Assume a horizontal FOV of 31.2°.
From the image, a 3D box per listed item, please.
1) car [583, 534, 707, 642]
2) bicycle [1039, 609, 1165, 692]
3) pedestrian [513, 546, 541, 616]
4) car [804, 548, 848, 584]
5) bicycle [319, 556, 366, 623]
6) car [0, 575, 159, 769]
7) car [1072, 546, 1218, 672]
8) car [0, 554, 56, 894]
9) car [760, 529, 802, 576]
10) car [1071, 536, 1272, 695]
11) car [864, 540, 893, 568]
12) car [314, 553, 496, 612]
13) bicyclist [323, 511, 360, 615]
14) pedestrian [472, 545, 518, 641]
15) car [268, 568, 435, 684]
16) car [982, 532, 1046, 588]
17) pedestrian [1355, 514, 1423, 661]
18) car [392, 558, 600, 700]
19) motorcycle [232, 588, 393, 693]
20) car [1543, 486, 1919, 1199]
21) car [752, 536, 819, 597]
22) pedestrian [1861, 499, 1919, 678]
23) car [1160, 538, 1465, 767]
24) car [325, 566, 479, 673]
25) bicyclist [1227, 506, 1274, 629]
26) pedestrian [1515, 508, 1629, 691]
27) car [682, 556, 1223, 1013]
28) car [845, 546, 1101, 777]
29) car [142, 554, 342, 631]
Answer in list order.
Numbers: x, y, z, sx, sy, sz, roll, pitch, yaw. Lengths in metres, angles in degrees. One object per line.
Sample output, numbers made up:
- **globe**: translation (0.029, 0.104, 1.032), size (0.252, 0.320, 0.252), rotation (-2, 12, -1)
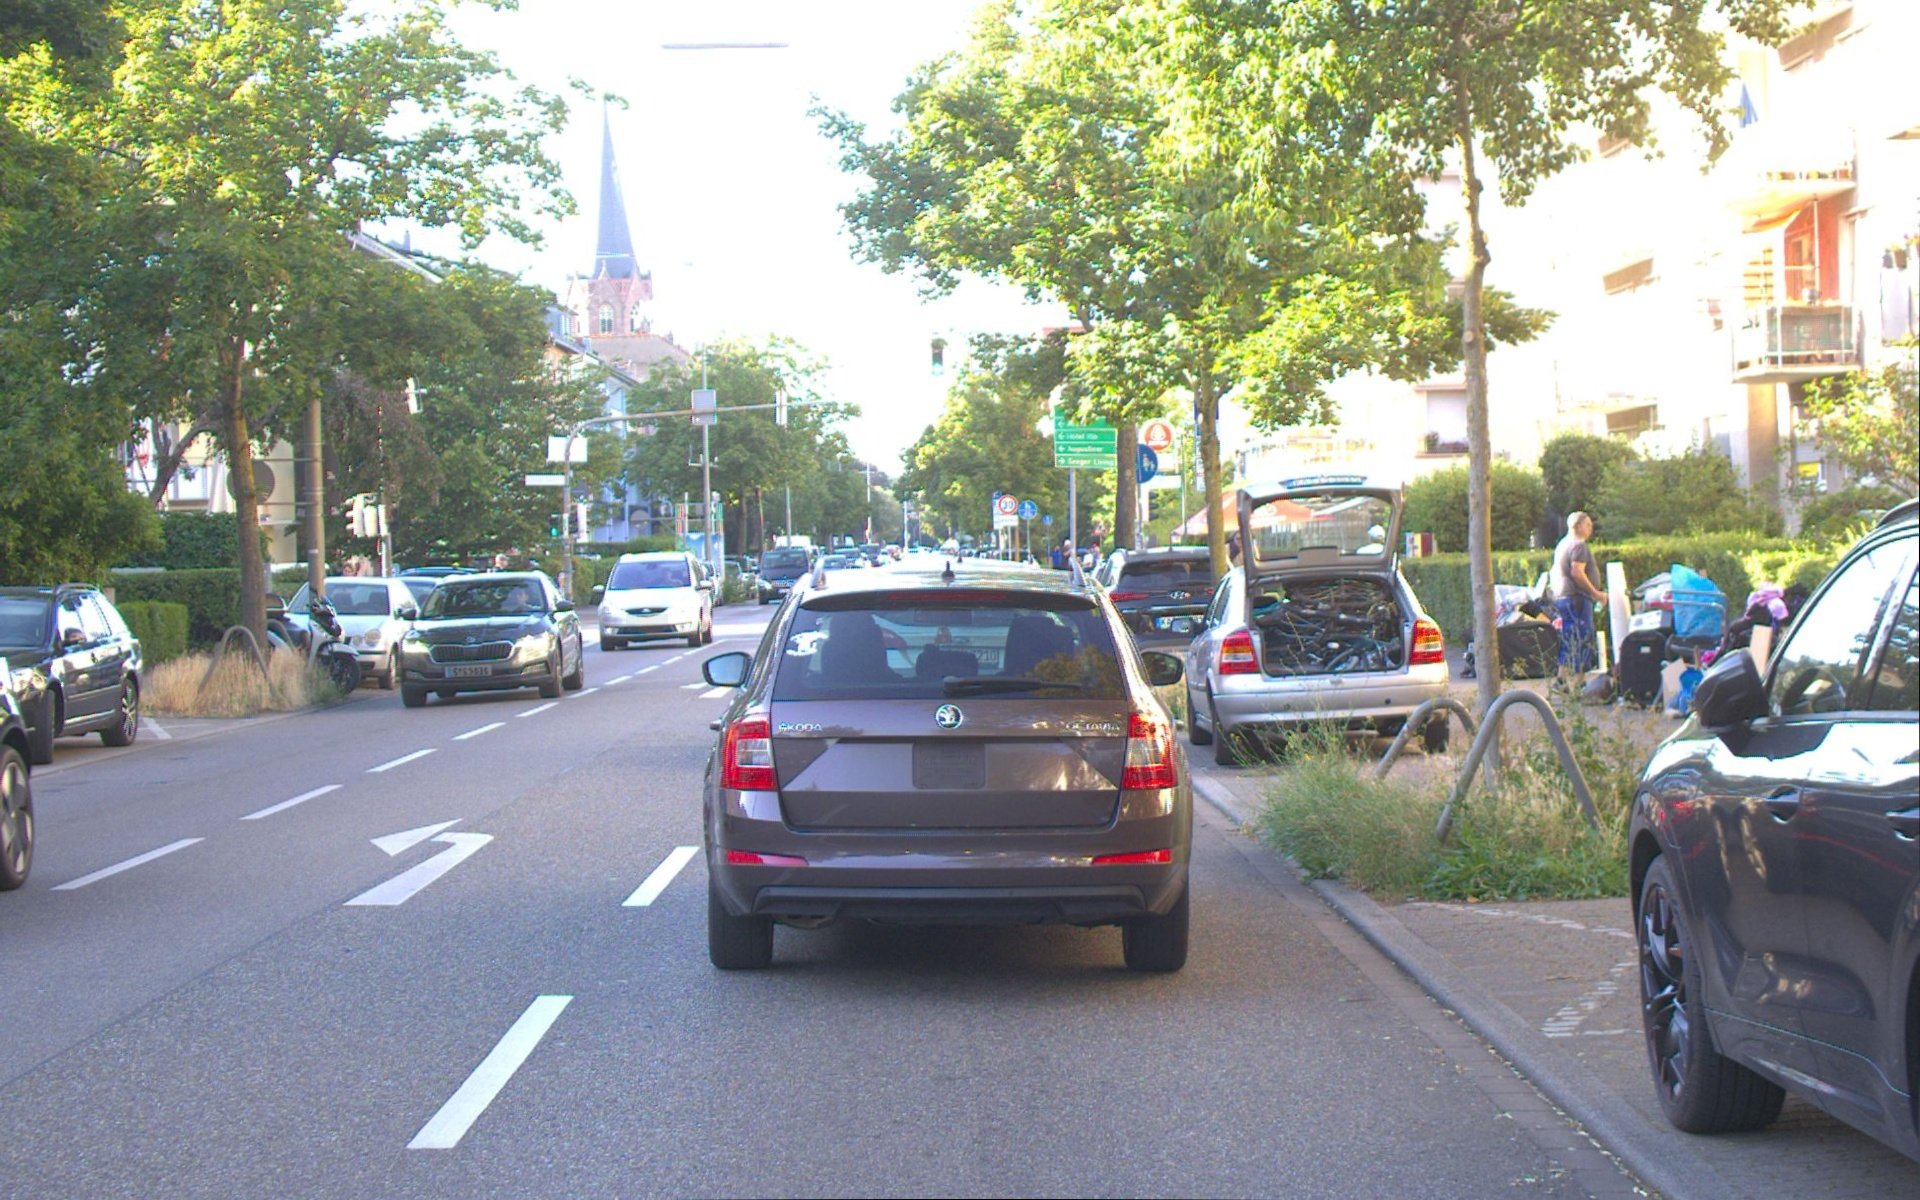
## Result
- **car**: translation (-5.707, -0.239, 62.703), size (1.805, 1.798, 4.746), rotation (-3, 1, -1)
- **bicycle**: translation (2.210, 0.787, 53.319), size (1.835, 1.153, 0.683), rotation (-4, 0, 6)
- **pedestrian**: translation (-11.292, -0.492, 89.659), size (0.616, 1.791, 0.504), rotation (-2, 1, 0)
- **car**: translation (-6.161, -1.574, 158.681), size (1.830, 1.574, 4.000), rotation (-2, 1, 0)
- **bicycle**: translation (-9.921, -0.178, 55.279), size (0.486, 1.060, 1.534), rotation (-1, 1, -1)
- **car**: translation (-8.278, 0.549, 29.288), size (1.867, 1.489, 4.517), rotation (0, 1, 0)
- **car**: translation (2.312, 0.078, 43.779), size (1.703, 1.445, 4.013), rotation (-3, 1, 2)
- **car**: translation (-5.349, 0.625, 14.790), size (1.835, 1.565, 4.000), rotation (-3, 0, -1)
- **car**: translation (-9.656, -2.565, 185.819), size (1.993, 2.469, 4.000), rotation (-1, 1, 0)
- **car**: translation (2.285, 0.135, 38.154), size (1.856, 1.576, 4.014), rotation (-3, 1, -1)
- **car**: translation (-6.091, -3.438, 257.090), size (1.993, 2.007, 4.000), rotation (-2, 1, 0)
- **car**: translation (-14.982, -0.479, 92.954), size (4.634, 1.530, 1.862), rotation (0, 1, 0)
- **bicyclist**: translation (-9.920, -0.599, 55.169), size (0.468, 1.657, 0.552), rotation (-1, 1, -1)
- **pedestrian**: translation (-9.754, -0.159, 72.144), size (0.780, 1.981, 0.821), rotation (-2, 1, 0)
- **car**: translation (-8.233, 0.322, 46.753), size (1.593, 1.465, 3.803), rotation (1, 1, 0)
- **car**: translation (1.789, -1.320, 113.176), size (1.994, 1.766, 4.000), rotation (1, 1, 2)
- **pedestrian**: translation (5.237, -0.154, 42.000), size (0.662, 1.743, 0.772), rotation (-3, 0, 1)
- **car**: translation (-5.361, 0.293, 40.208), size (1.760, 1.447, 4.534), rotation (-3, 1, 0)
- **motorcycle**: translation (-8.076, 0.509, 42.848), size (2.052, 1.260, 0.765), rotation (-1, 1, 38)
- **car**: translation (2.604, 0.525, 7.278), size (1.856, 1.598, 4.311), rotation (-4, 1, -1)
- **car**: translation (-5.930, -1.157, 117.055), size (1.993, 1.902, 4.964), rotation (-3, 1, -1)
- **pedestrian**: translation (8.703, -0.113, 31.762), size (0.474, 1.634, 0.536), rotation (-2, 1, -19)
- **car**: translation (2.548, 0.331, 25.758), size (1.708, 1.475, 4.268), rotation (-3, 1, -1)
- **car**: translation (-8.262, 0.254, 51.185), size (1.648, 1.512, 4.074), rotation (0, 1, 0)
- **bicyclist**: translation (4.260, -0.479, 50.405), size (0.581, 1.782, 0.852), rotation (-1, 1, 0)
- **pedestrian**: translation (5.557, -0.006, 31.219), size (0.757, 1.634, 0.694), rotation (-1, 1, 36)
- **car**: translation (-0.055, 0.578, 13.442), size (1.773, 1.484, 4.311), rotation (0, 1, -1)
- **car**: translation (0.101, 0.393, 25.546), size (1.737, 1.565, 4.000), rotation (1, 1, 0)
- **car**: translation (-18.112, -0.190, 86.910), size (4.634, 1.805, 1.862), rotation (-1, 1, 0)
